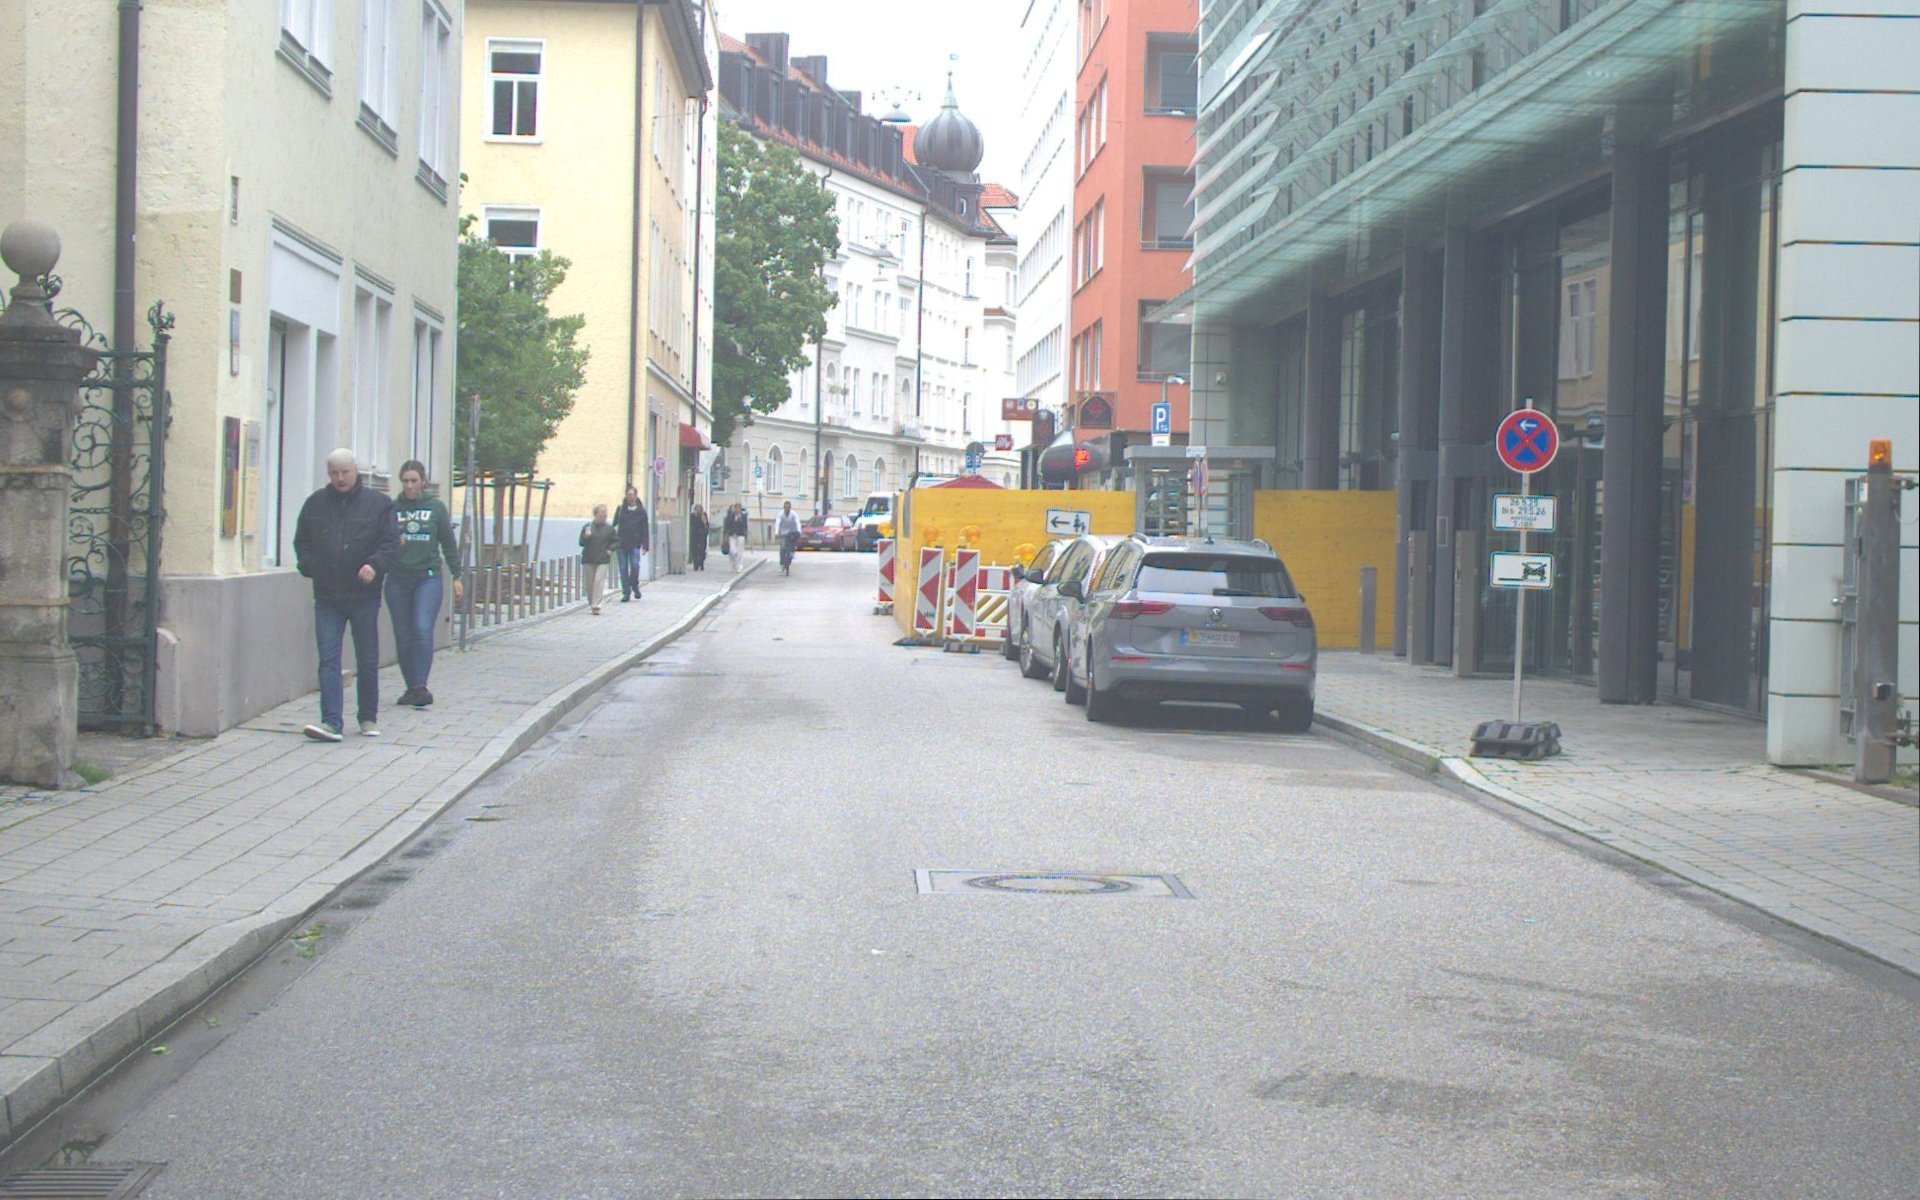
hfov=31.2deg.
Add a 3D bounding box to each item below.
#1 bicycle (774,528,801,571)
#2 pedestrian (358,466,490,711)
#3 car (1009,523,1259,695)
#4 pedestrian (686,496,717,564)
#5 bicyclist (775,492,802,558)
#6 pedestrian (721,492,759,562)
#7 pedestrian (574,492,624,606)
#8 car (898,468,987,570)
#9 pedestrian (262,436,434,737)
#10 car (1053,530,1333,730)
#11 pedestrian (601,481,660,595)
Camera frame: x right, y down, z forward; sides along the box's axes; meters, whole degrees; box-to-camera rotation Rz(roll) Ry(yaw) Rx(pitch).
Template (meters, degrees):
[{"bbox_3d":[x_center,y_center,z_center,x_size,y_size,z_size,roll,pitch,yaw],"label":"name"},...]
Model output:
[{"bbox_3d":[-4.322,-1.274,86.258,0.661,1.035,2.005,1,1,-3],"label":"bicycle"},{"bbox_3d":[-3.785,-0.091,24.349,0.712,1.660,0.930,4,1,-2],"label":"pedestrian"},{"bbox_3d":[1.594,0.034,32.926,1.707,1.462,4.238,3,1,-6],"label":"car"},{"bbox_3d":[-6.373,-1.718,84.802,0.670,1.642,0.762,2,1,-3],"label":"pedestrian"},{"bbox_3d":[-4.303,-1.883,86.194,0.659,1.637,0.895,1,1,-3],"label":"bicyclist"},{"bbox_3d":[-5.414,-1.801,84.637,0.839,1.694,0.803,2,1,-3],"label":"pedestrian"},{"bbox_3d":[-5.398,-0.761,51.465,0.647,1.670,0.724,2,1,-3],"label":"pedestrian"},{"bbox_3d":[-0.494,-2.140,90.149,1.993,2.528,4.976,2,1,-3],"label":"car"},{"bbox_3d":[-3.816,-0.092,21.518,0.905,1.821,0.956,2,1,-3],"label":"pedestrian"},{"bbox_3d":[1.788,0.178,27.636,1.708,1.427,4.330,1,1,-3],"label":"car"},{"bbox_3d":[-5.532,-1.043,57.721,0.867,1.875,1.135,2,1,-3],"label":"pedestrian"}]
